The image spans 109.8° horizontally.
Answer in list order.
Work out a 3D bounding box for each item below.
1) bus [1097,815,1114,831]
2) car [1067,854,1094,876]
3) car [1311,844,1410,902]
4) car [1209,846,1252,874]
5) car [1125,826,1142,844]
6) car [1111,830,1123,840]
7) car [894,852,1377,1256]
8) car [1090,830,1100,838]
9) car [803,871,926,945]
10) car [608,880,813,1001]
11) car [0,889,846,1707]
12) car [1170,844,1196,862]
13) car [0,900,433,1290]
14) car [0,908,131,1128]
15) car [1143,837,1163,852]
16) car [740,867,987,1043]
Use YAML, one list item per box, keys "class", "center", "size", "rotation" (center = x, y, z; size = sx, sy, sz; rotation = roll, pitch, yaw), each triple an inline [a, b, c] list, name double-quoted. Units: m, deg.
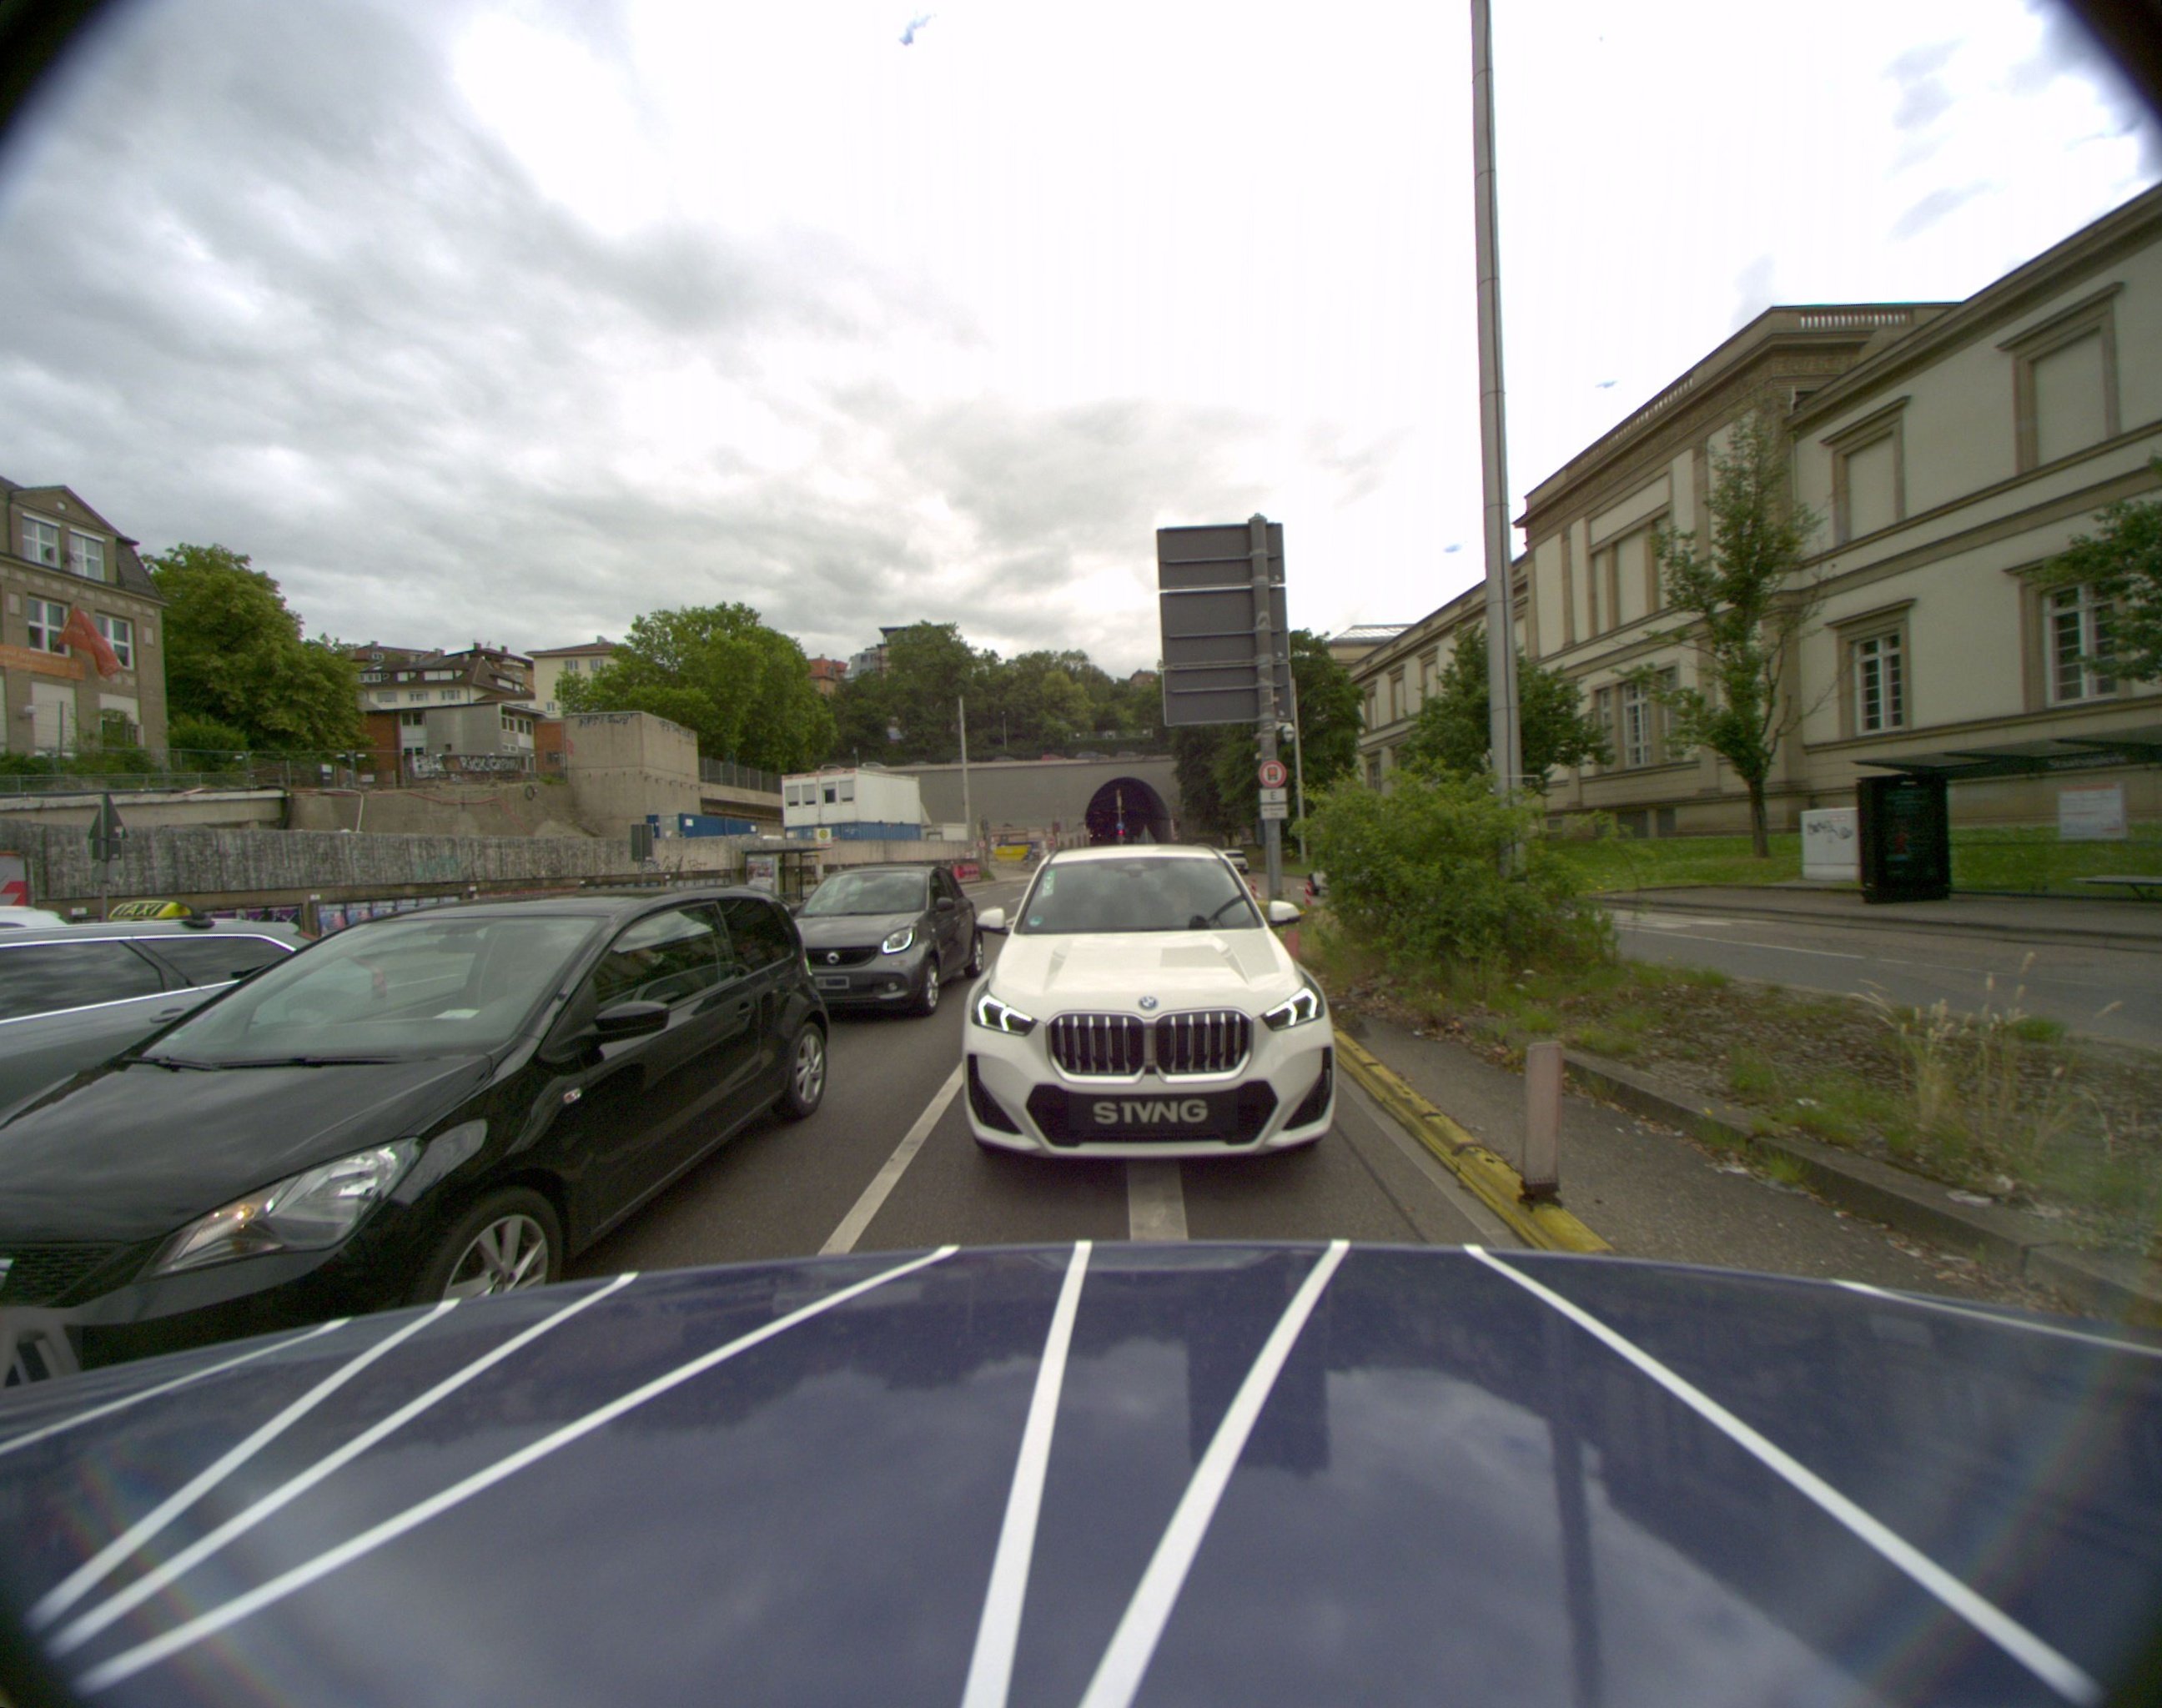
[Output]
- class: "bus"
  center: [5.470, -6.763, 168.622]
  size: [3.171, 3.129, 9.118]
  rotation: [-2, 1, -1]
- class: "car"
  center: [0.013, 0.746, 54.522]
  size: [1.680, 1.450, 3.807]
  rotation: [-2, 1, 3]
- class: "car"
  center: [8.811, 0.558, 24.297]
  size: [1.903, 1.615, 4.109]
  rotation: [-2, 0, 5]
- class: "car"
  center: [9.588, 0.349, 49.039]
  size: [1.875, 1.681, 4.267]
  rotation: [-2, 1, 0]
- class: "car"
  center: [7.486, -2.653, 108.368]
  size: [2.203, 2.493, 4.758]
  rotation: [-2, 1, 2]
- class: "car"
  center: [6.498, -3.451, 136.437]
  size: [1.946, 1.714, 4.000]
  rotation: [-2, 1, 4]
- class: "car"
  center: [0.258, 0.852, 5.057]
  size: [1.987, 1.615, 3.670]
  rotation: [-2, 1, 1]
- class: "car"
  center: [2.504, -3.455, 133.314]
  size: [1.680, 1.358, 3.806]
  rotation: [-2, 1, 1]
- class: "car"
  center: [-4.926, 1.173, 17.826]
  size: [1.680, 1.358, 3.806]
  rotation: [-2, 1, 1]
- class: "car"
  center: [-5.401, 1.199, 11.445]
  size: [1.665, 1.423, 2.714]
  rotation: [-2, 1, 1]
- class: "car"
  center: [-2.576, 1.023, 3.356]
  size: [1.829, 1.450, 3.700]
  rotation: [-2, 1, 1]
- class: "car"
  center: [8.964, -0.073, 67.102]
  size: [1.646, 1.469, 3.574]
  rotation: [-2, 0, -2]
- class: "car"
  center: [-5.861, 1.212, 3.316]
  size: [1.829, 1.615, 4.808]
  rotation: [-2, 1, 1]
- class: "car"
  center: [-9.112, 1.324, 4.457]
  size: [1.680, 1.615, 4.209]
  rotation: [-2, 1, 1]
- class: "car"
  center: [8.178, -1.056, 86.792]
  size: [1.778, 1.609, 3.802]
  rotation: [-2, 1, -1]
- class: "car"
  center: [-2.260, 0.986, 8.905]
  size: [1.720, 1.535, 3.575]
  rotation: [-2, 0, 2]
